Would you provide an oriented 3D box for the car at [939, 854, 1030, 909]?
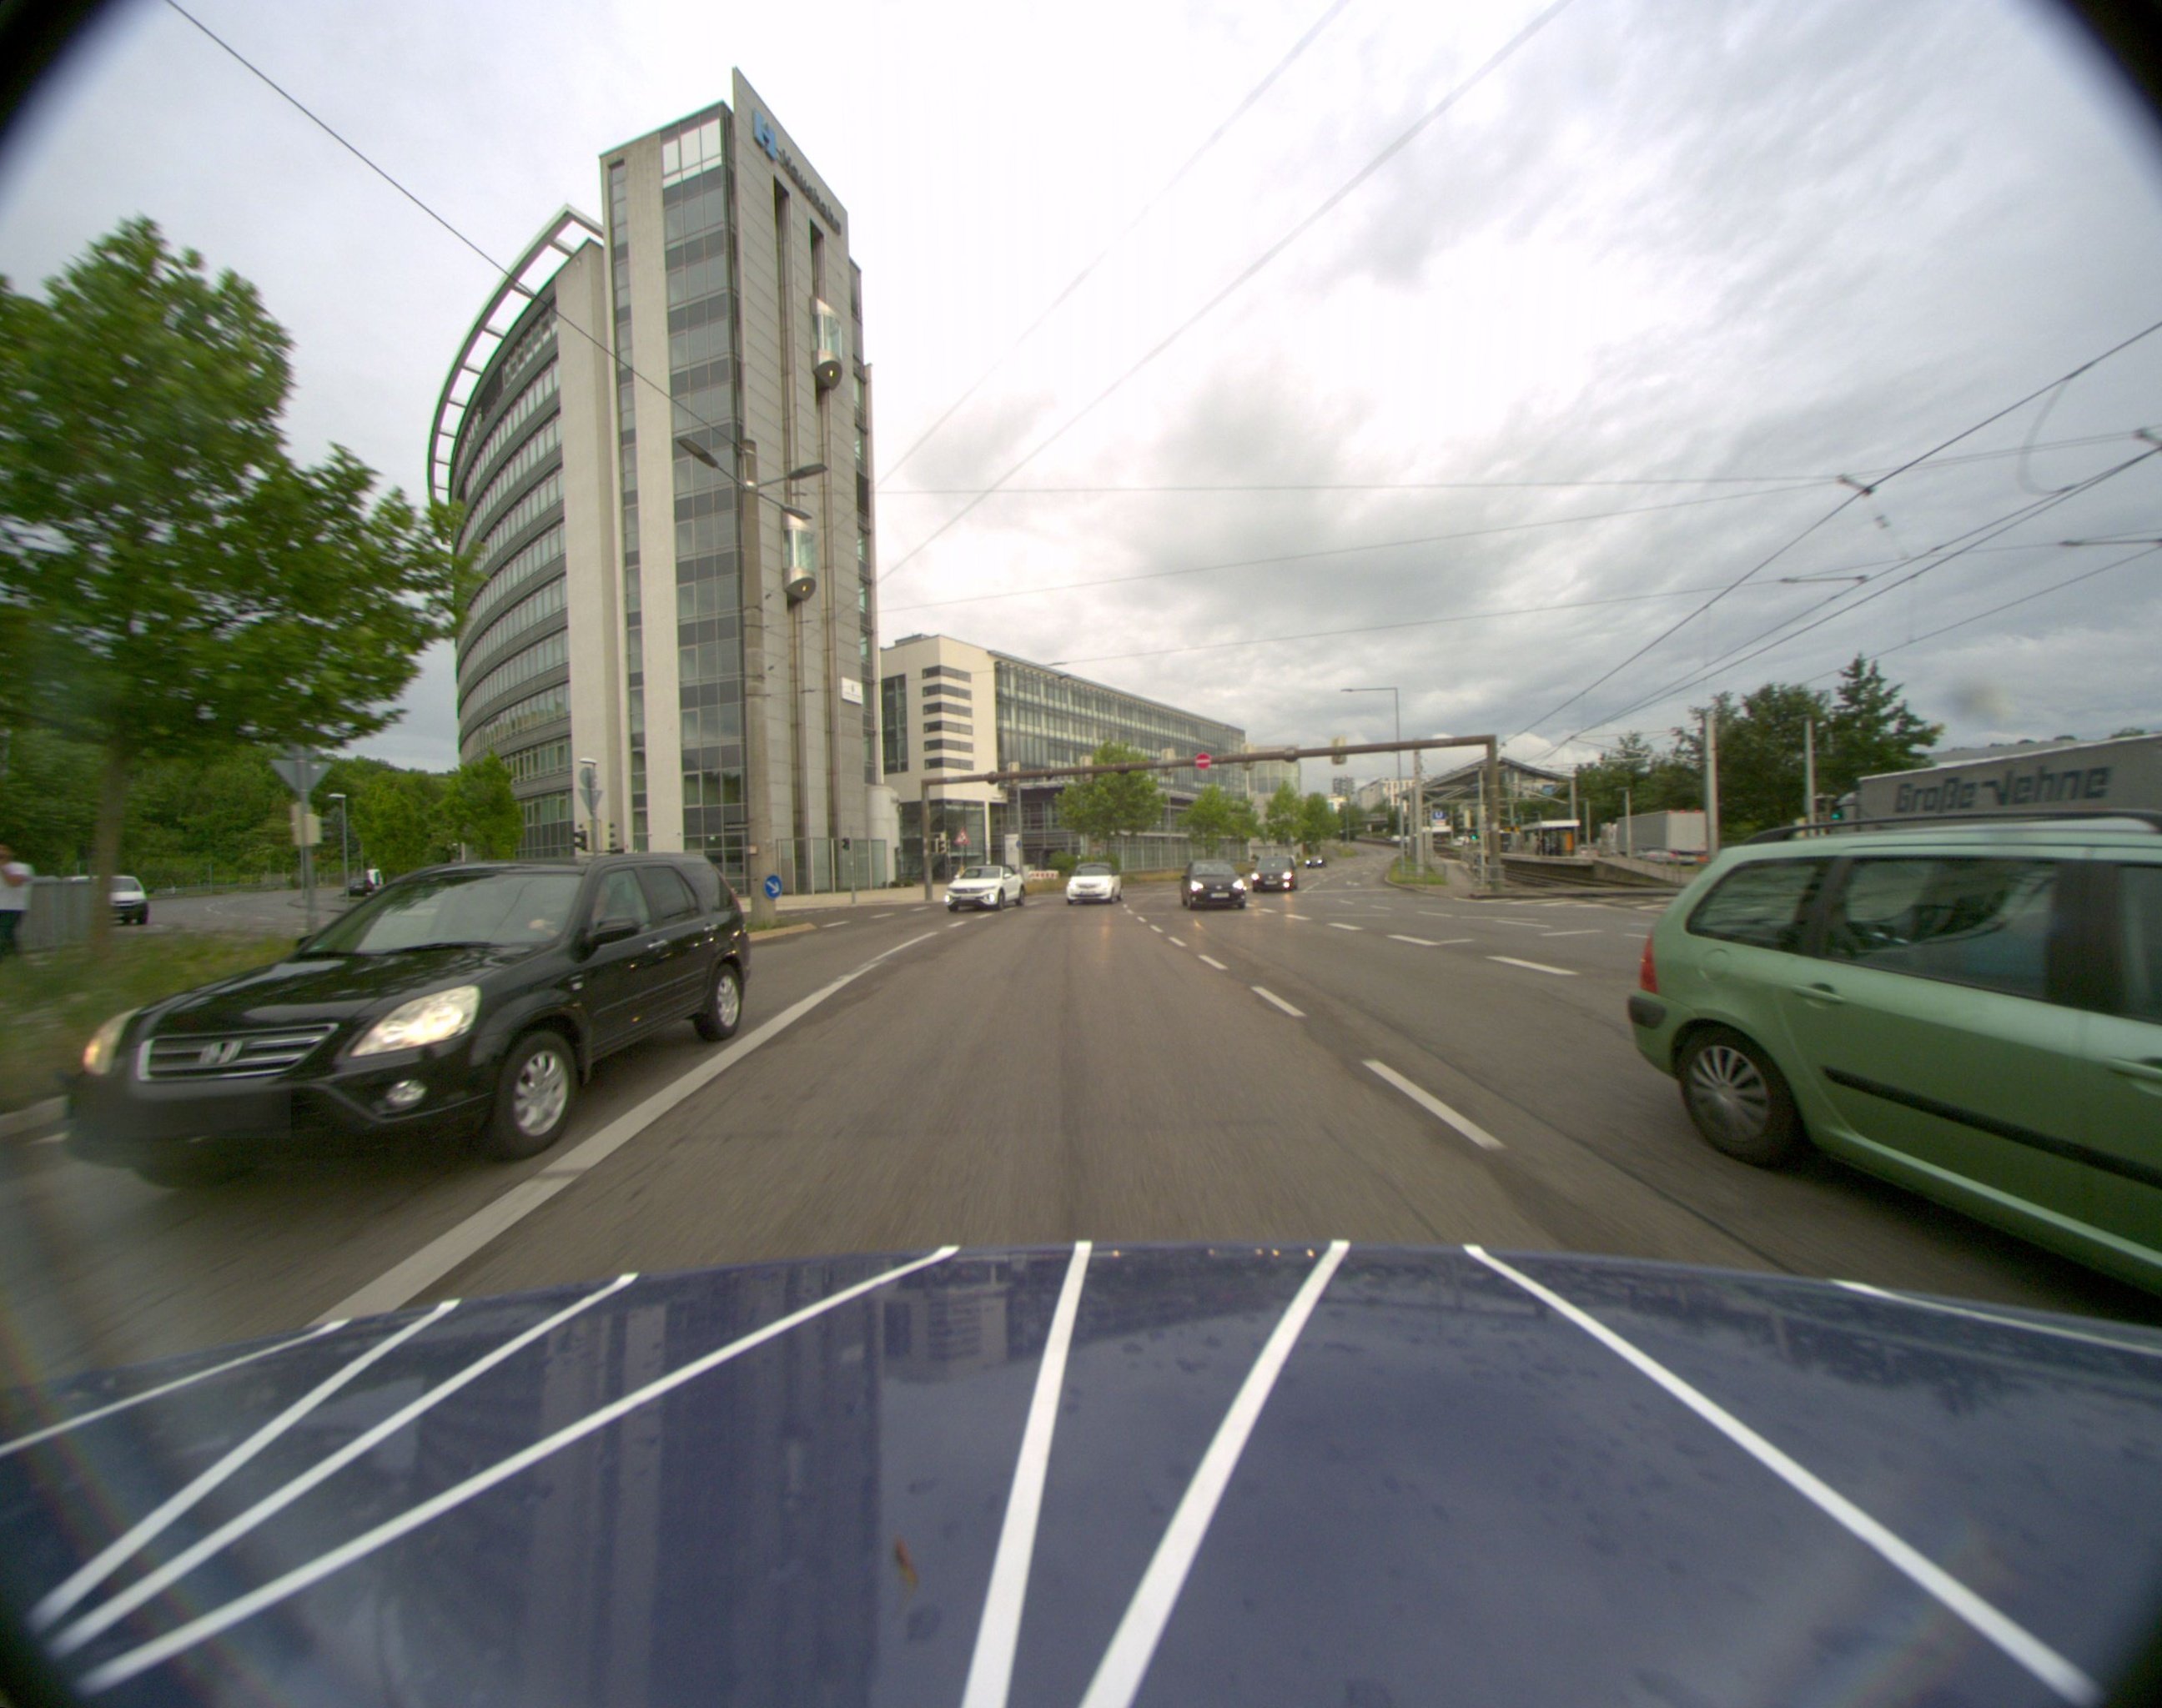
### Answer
[{"bbox_3d":[-3.214,0.917,26.152,1.997,1.668,3.825,-2,-1,10],"label":"car"}]

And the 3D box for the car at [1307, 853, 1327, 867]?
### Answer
[{"bbox_3d":[29.695,0.757,95.390,1.699,1.514,3.831,-3,1,27],"label":"car"}]

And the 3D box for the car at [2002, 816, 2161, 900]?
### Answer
[{"bbox_3d":[25.063,0.055,17.824,1.996,1.826,4.914,-2,0,17],"label":"car"}]

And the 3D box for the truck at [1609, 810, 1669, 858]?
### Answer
[{"bbox_3d":[49.268,-1.669,67.283,2.834,3.972,5.996,-2,-1,23],"label":"truck"}]

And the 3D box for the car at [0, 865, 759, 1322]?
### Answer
[{"bbox_3d":[-3.893,0.974,5.134,1.771,1.620,4.323,-4,0,-4],"label":"car"}]

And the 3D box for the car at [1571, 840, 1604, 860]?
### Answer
[{"bbox_3d":[47.911,-0.392,71.944,1.889,1.642,4.101,-4,0,24],"label":"car"}]

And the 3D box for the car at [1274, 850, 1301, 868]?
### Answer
[{"bbox_3d":[21.839,0.537,80.263,1.826,1.700,4.160,-4,0,27],"label":"car"}]

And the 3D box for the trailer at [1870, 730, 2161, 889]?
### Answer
[{"bbox_3d":[31.129,-1.263,24.500,2.652,4.100,12.763,-1,0,21],"label":"trailer"}]

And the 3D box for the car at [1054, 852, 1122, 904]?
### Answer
[{"bbox_3d":[0.343,0.811,27.607,1.803,1.713,4.003,1,1,10],"label":"car"}]

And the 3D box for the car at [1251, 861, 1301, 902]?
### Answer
[{"bbox_3d":[8.908,1.203,34.507,1.729,1.582,4.199,-4,-1,20],"label":"car"}]

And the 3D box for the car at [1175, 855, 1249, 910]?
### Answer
[{"bbox_3d":[4.016,0.852,23.830,1.697,1.513,3.905,-2,-1,1],"label":"car"}]

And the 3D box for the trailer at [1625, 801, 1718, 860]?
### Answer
[{"bbox_3d":[46.241,-1.664,59.963,2.797,4.083,11.461,-2,-1,22],"label":"trailer"}]

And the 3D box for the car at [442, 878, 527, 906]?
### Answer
[{"bbox_3d":[-34.368,2.185,43.780,4.315,1.306,1.903,-4,0,23],"label":"car"}]

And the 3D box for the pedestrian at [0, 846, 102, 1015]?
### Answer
[{"bbox_3d":[-13.978,0.967,9.898,1.144,2.113,1.224,-1,0,23],"label":"pedestrian"}]

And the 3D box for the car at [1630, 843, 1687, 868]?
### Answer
[{"bbox_3d":[40.067,0.064,52.866,1.905,1.546,4.572,-4,-1,22],"label":"car"}]

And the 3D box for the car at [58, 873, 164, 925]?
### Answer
[{"bbox_3d":[-38.386,1.787,30.033,5.069,1.903,2.005,-3,-3,32],"label":"car"}]

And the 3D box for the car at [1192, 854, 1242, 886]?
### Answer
[{"bbox_3d":[7.232,0.826,40.107,1.737,1.469,4.006,-4,-1,22],"label":"car"}]

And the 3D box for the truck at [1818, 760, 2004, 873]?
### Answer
[{"bbox_3d":[33.742,-1.398,31.263,2.669,4.106,6.194,-2,1,21],"label":"truck"}]

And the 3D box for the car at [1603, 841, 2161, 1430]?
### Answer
[{"bbox_3d":[3.641,0.727,1.837,1.699,1.459,4.404,-4,0,1],"label":"car"}]
